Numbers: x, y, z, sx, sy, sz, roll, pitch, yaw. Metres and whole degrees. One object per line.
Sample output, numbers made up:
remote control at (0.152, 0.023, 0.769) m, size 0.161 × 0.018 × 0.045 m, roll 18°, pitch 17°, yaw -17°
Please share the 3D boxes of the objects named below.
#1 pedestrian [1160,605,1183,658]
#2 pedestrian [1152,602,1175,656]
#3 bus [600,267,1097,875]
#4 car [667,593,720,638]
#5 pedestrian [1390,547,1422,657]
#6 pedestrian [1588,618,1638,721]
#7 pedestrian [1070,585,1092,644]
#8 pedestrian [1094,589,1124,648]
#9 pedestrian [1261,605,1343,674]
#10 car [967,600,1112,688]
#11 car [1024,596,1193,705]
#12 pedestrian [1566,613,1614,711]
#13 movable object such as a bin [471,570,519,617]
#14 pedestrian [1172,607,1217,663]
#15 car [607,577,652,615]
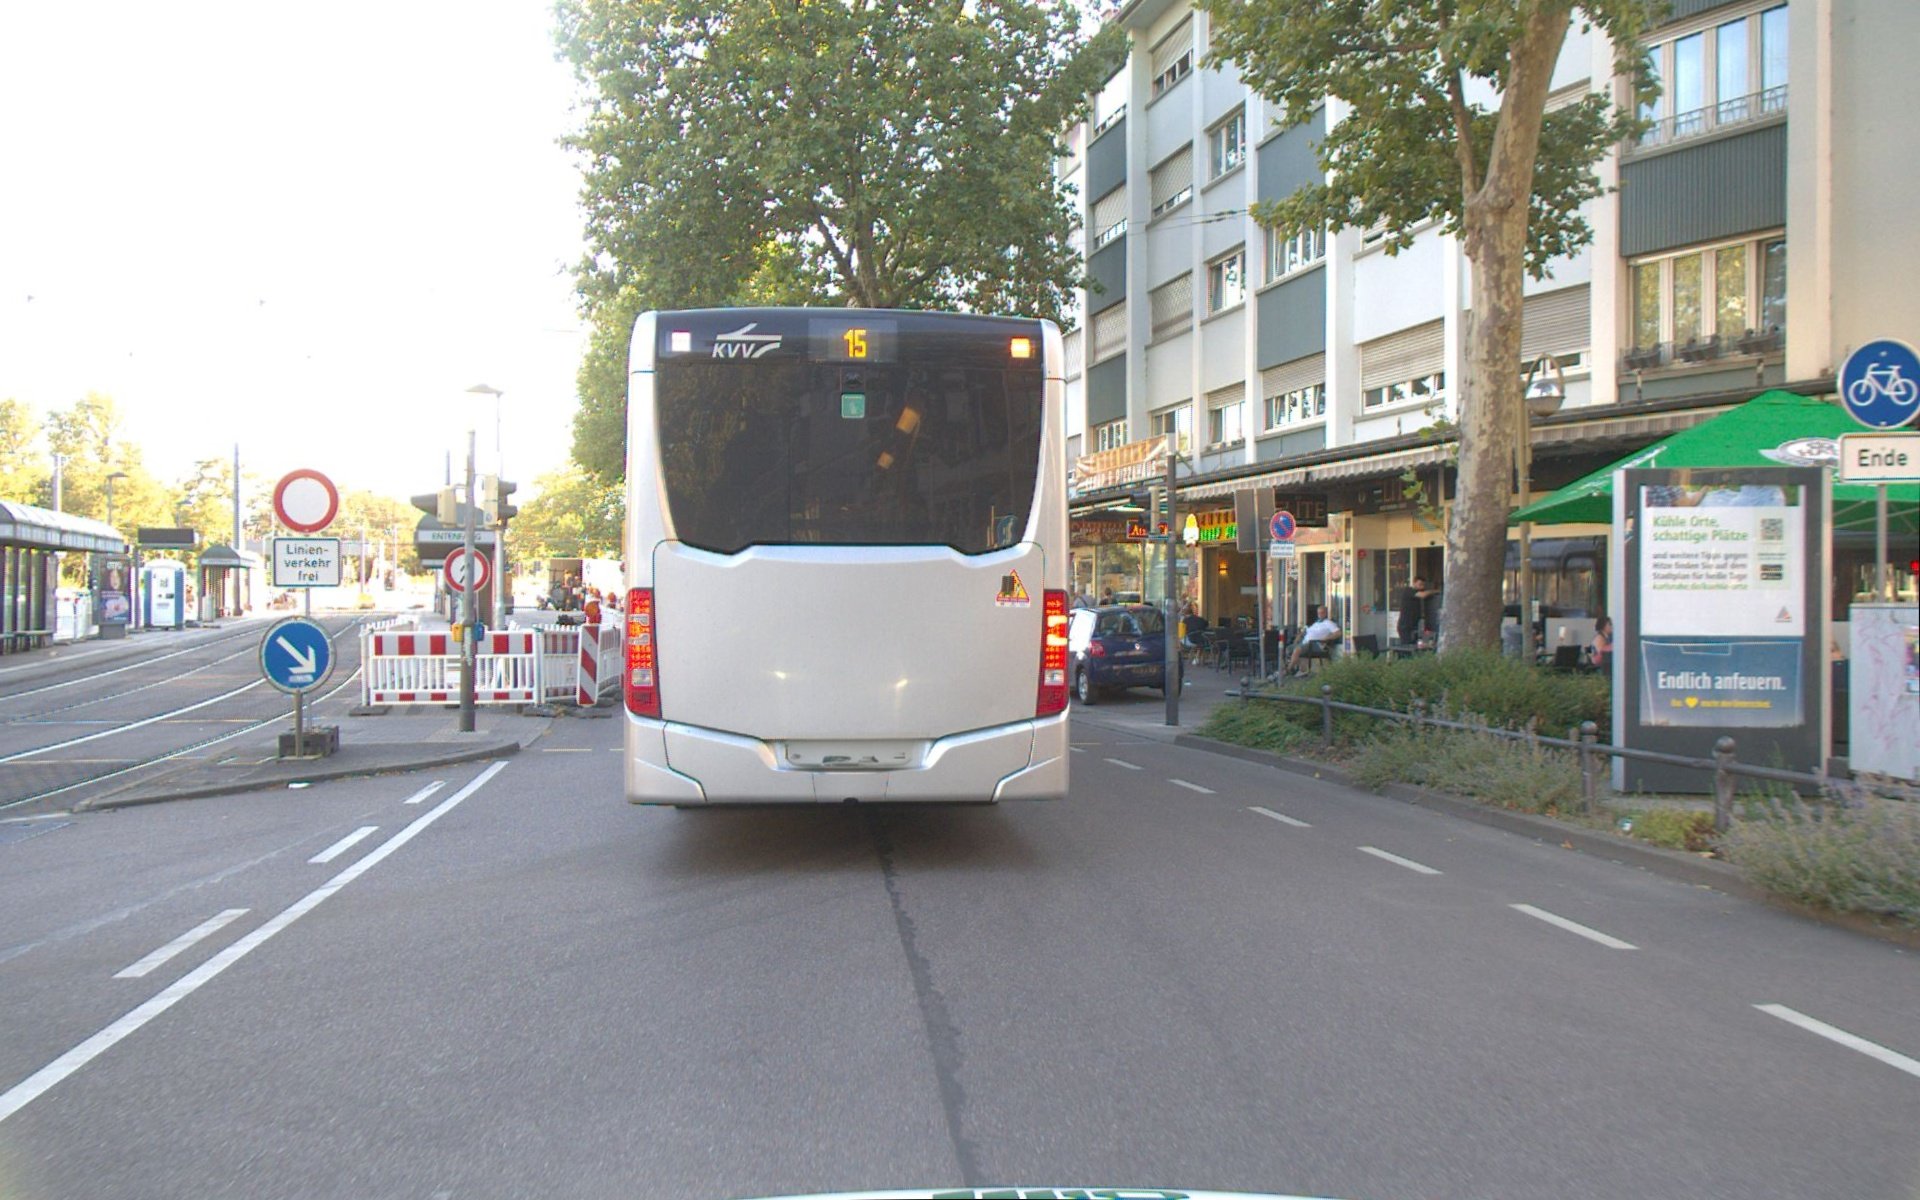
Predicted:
pedestrian at (4.617, 0.687, 36.093) m, size 0.381 × 1.141 × 0.391 m, roll 0°, pitch 0°, yaw -15°
pedestrian at (4.491, 0.639, 36.560) m, size 0.385 × 1.195 × 0.387 m, roll 0°, pitch 0°, yaw -16°
bus at (-1.092, -0.136, 13.808) m, size 2.607 × 3.153 × 10.202 m, roll 0°, pitch 0°, yaw -6°
car at (-9.028, 0.502, 55.961) m, size 1.724 × 1.489 × 3.991 m, roll 0°, pitch 0°, yaw -10°
pedestrian at (7.210, 0.033, 26.739) m, size 0.350 × 1.748 × 0.309 m, roll 2°, pitch 0°, yaw -7°
pedestrian at (8.192, 0.865, 20.759) m, size 0.446 × 1.259 × 0.395 m, roll 0°, pitch 0°, yaw -32°
pedestrian at (2.622, 0.305, 35.902) m, size 0.381 × 1.278 × 0.391 m, roll 0°, pitch 0°, yaw -15°
pedestrian at (3.279, 0.399, 36.380) m, size 0.582 × 1.278 × 0.391 m, roll 0°, pitch 0°, yaw -13°
pedestrian at (6.119, 0.698, 29.650) m, size 1.158 × 1.218 × 0.923 m, roll 0°, pitch 0°, yaw -14°
car at (1.419, 0.765, 30.766) m, size 1.636 × 1.419 × 3.397 m, roll -3°, pitch 1°, yaw -16°
car at (2.330, 0.760, 26.811) m, size 1.634 × 1.543 × 3.399 m, roll -3°, pitch 1°, yaw -15°
pedestrian at (8.317, 0.808, 21.822) m, size 0.394 × 1.259 × 0.447 m, roll 0°, pitch 0°, yaw -30°
movable object such as a bin at (-25.396, -0.343, 90.494) m, size 2.453 × 2.520 × 5.333 m, roll 0°, pitch 0°, yaw -16°
pedestrian at (4.800, 0.702, 33.920) m, size 0.693 × 1.128 × 0.764 m, roll 0°, pitch 0°, yaw -14°
car at (-13.566, -0.163, 67.757) m, size 1.725 × 1.489 × 3.987 m, roll 0°, pitch 0°, yaw -13°
